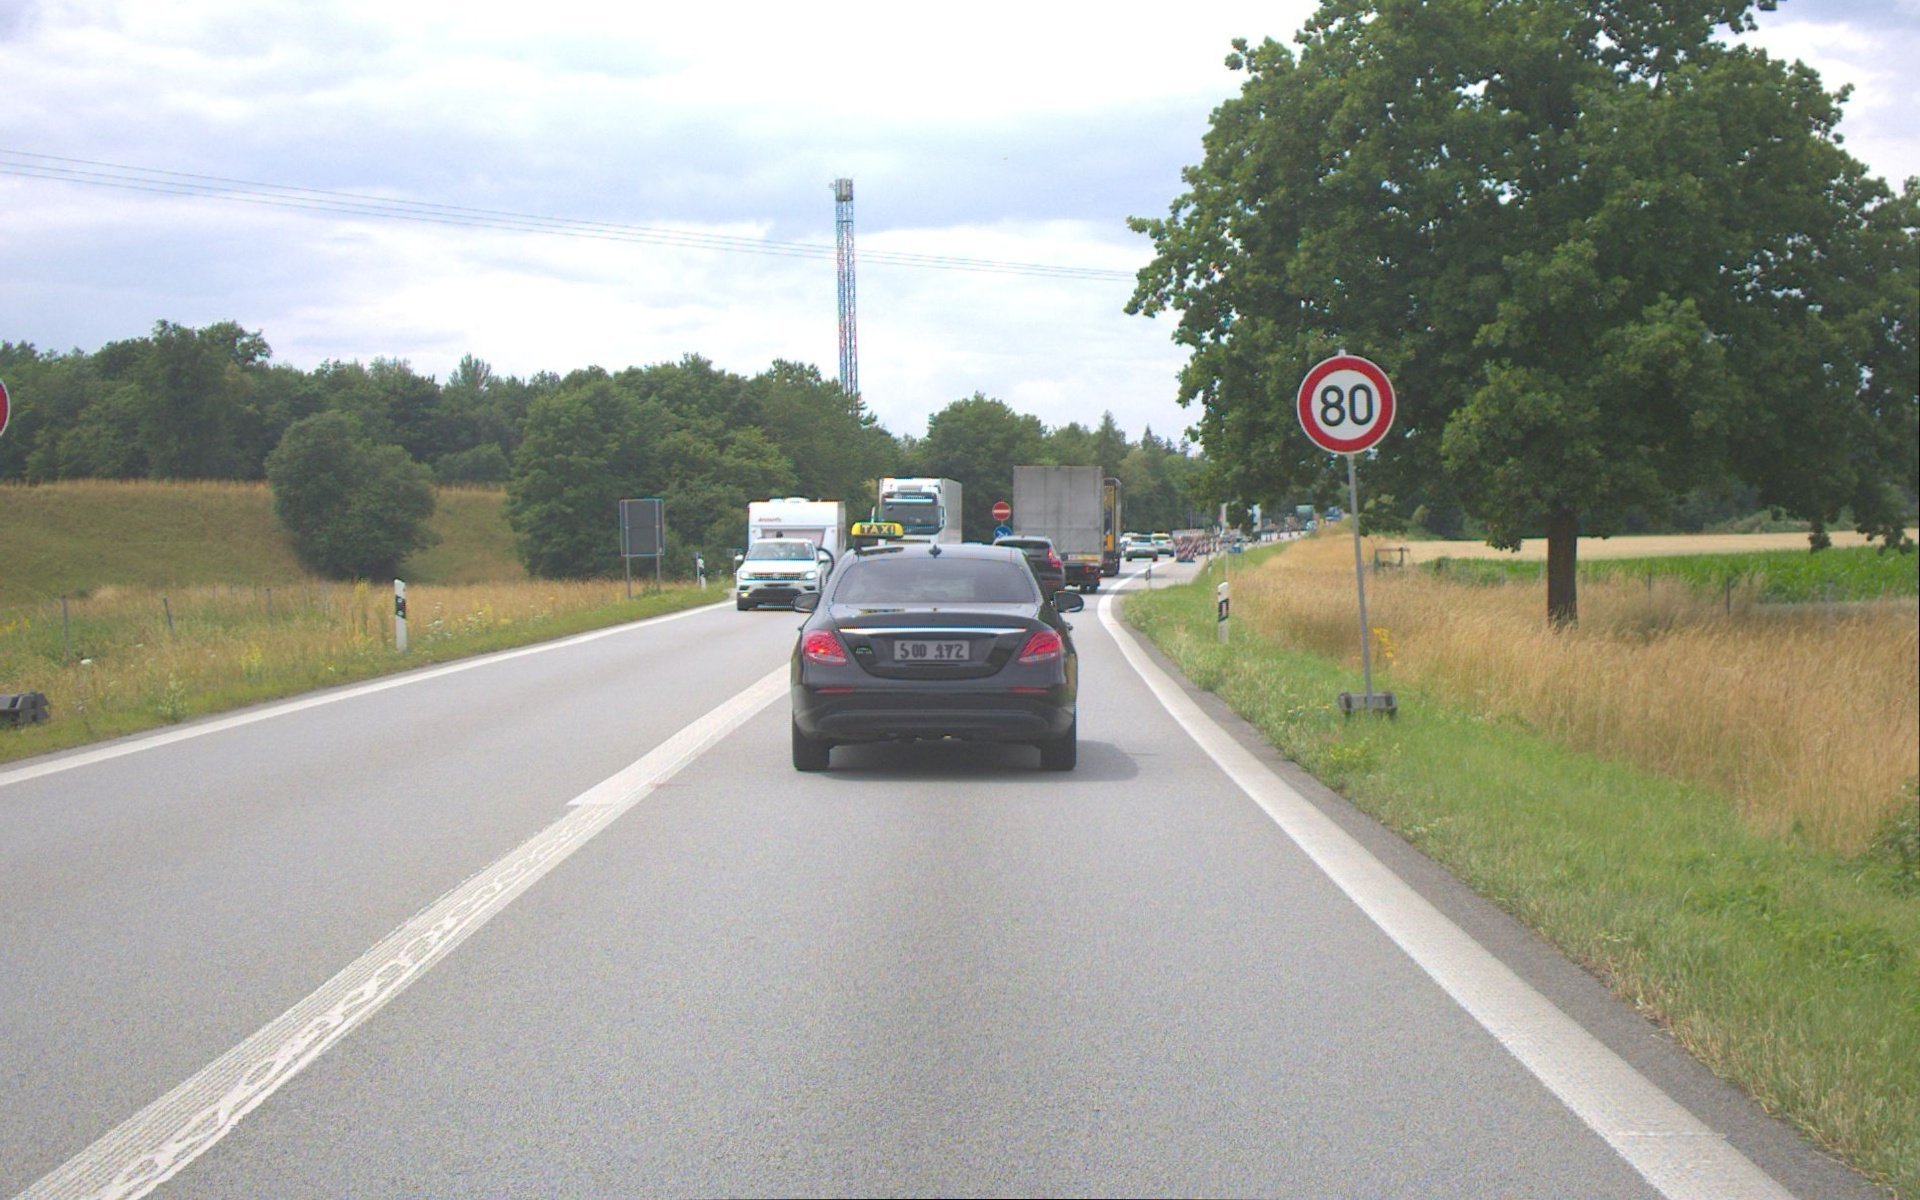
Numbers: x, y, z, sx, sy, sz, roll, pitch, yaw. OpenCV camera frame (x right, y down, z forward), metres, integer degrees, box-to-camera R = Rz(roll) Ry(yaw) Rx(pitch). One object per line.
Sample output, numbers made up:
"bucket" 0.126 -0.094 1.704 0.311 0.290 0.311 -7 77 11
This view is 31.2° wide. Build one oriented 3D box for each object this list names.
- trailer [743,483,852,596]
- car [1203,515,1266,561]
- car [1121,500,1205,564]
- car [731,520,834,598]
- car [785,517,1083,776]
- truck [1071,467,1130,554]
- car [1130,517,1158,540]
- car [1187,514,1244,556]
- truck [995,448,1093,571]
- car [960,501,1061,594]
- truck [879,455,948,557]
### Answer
"trailer" -3.809 -1.415 81.617 2.182 2.566 6.244 1 1 1
"car" 10.068 -2.275 126.364 1.795 1.657 4.000 1 1 -3
"car" 5.402 -1.811 91.826 1.795 1.657 4.000 1 1 -3
"car" -3.902 -0.904 76.295 2.006 1.652 4.327 1 1 1
"car" -0.250 0.259 22.938 1.795 1.554 4.000 1 1 -3
"truck" 5.845 -3.710 143.487 1.993 3.513 4.593 1 1 -3
"car" 11.349 -4.426 212.197 1.649 1.391 3.706 1 1 2
"car" 10.367 -2.623 139.638 1.795 1.657 4.000 1 1 -3
"truck" 2.515 -2.639 101.563 2.587 3.512 4.812 1 1 5
"car" 1.091 -1.171 76.752 1.993 2.007 4.000 1 1 -3
"truck" -1.838 -3.731 136.537 2.489 3.982 5.204 0 1 2
